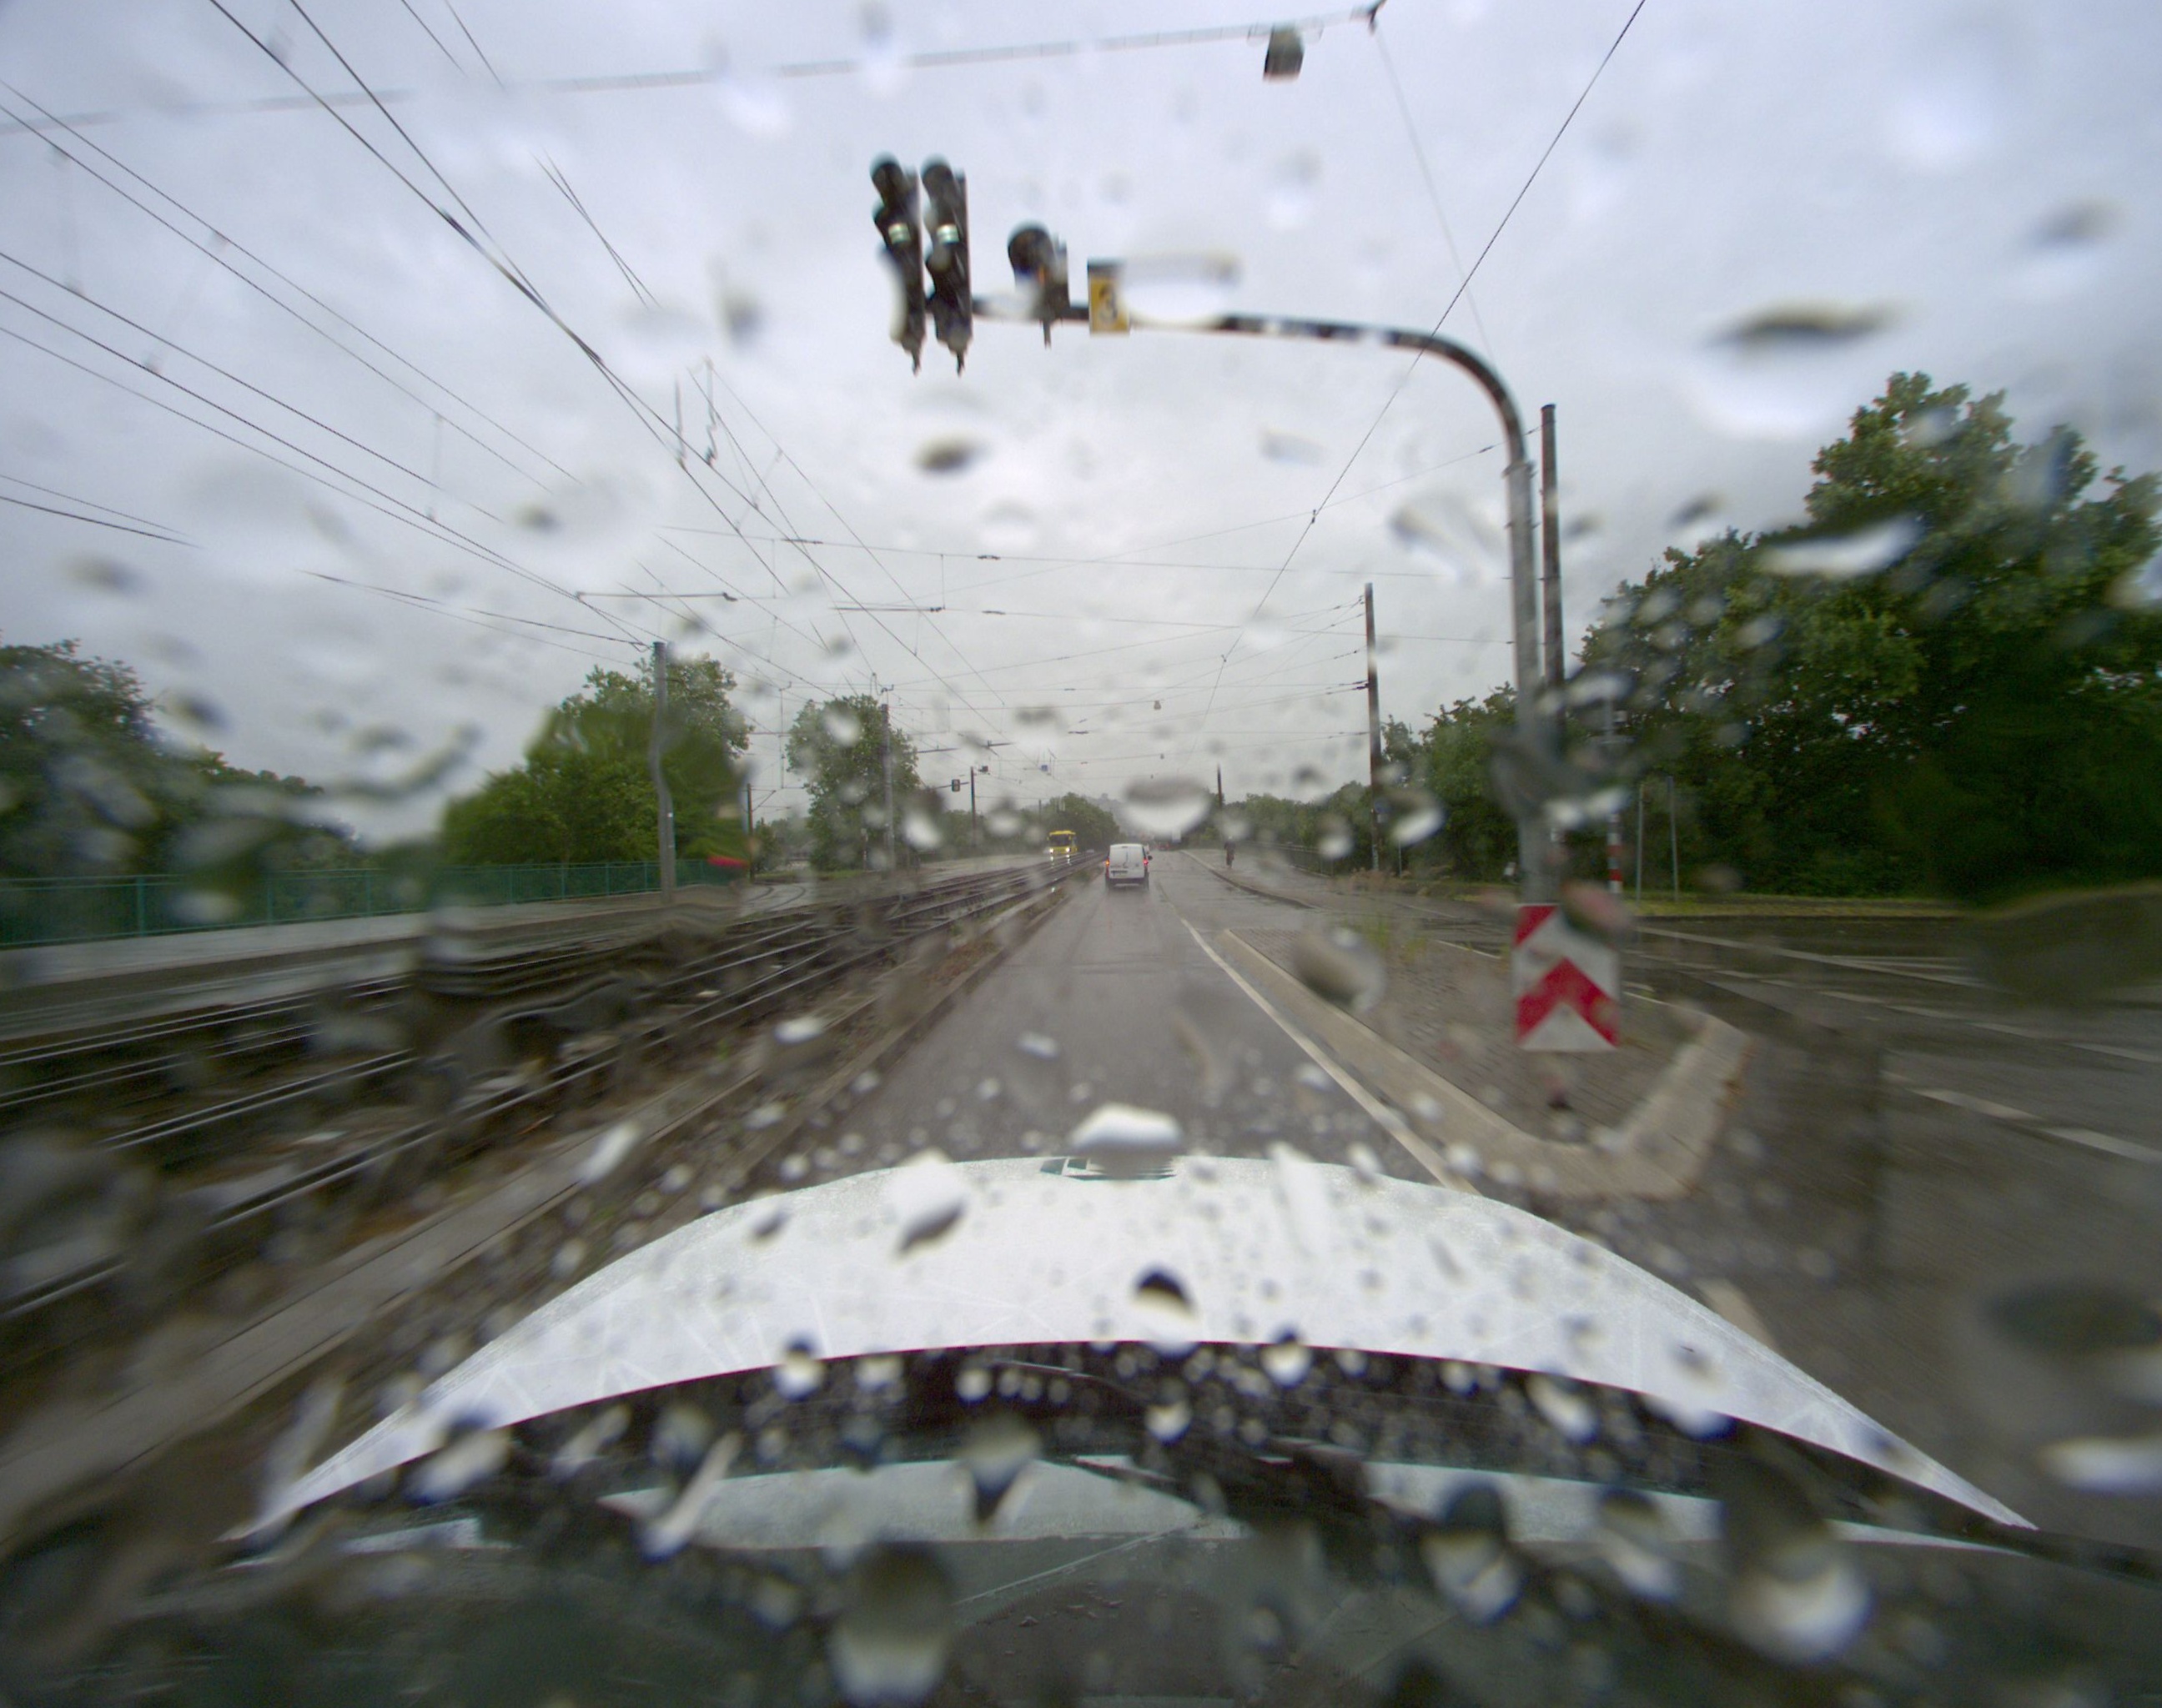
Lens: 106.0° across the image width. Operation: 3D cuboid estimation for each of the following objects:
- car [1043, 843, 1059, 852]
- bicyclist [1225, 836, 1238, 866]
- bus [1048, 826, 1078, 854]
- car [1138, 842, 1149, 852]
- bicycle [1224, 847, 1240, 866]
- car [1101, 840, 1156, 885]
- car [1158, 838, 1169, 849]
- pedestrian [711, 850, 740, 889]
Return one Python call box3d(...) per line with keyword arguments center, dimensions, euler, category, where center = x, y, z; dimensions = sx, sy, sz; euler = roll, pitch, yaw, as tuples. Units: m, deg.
box3d(center=(-4.626, -1.021, 124.690), dimensions=(1.925, 1.231, 4.106), euler=(-4, 2, 5), category="car")
box3d(center=(9.017, -0.173, 48.814), dimensions=(0.722, 1.764, 0.950), euler=(0, 0, 5), category="bicyclist")
box3d(center=(-2.313, -1.986, 111.237), dimensions=(2.695, 3.340, 11.010), euler=(-4, 2, 5), category="bus")
box3d(center=(9.768, -1.047, 127.390), dimensions=(1.446, 1.499, 2.983), euler=(0, 0, 1), category="car")
box3d(center=(9.023, 0.133, 48.793), dimensions=(0.719, 1.129, 2.171), euler=(0, 1, 5), category="bicycle")
box3d(center=(2.009, 0.334, 33.659), dimensions=(1.983, 1.726, 4.008), euler=(0, 0, 7), category="car")
box3d(center=(12.046, -1.521, 119.150), dimensions=(1.446, 1.499, 2.983), euler=(0, 0, 1), category="car")
box3d(center=(-16.880, 0.727, 38.654), dimensions=(0.861, 1.819, 1.044), euler=(0, 0, 3), category="pedestrian")
